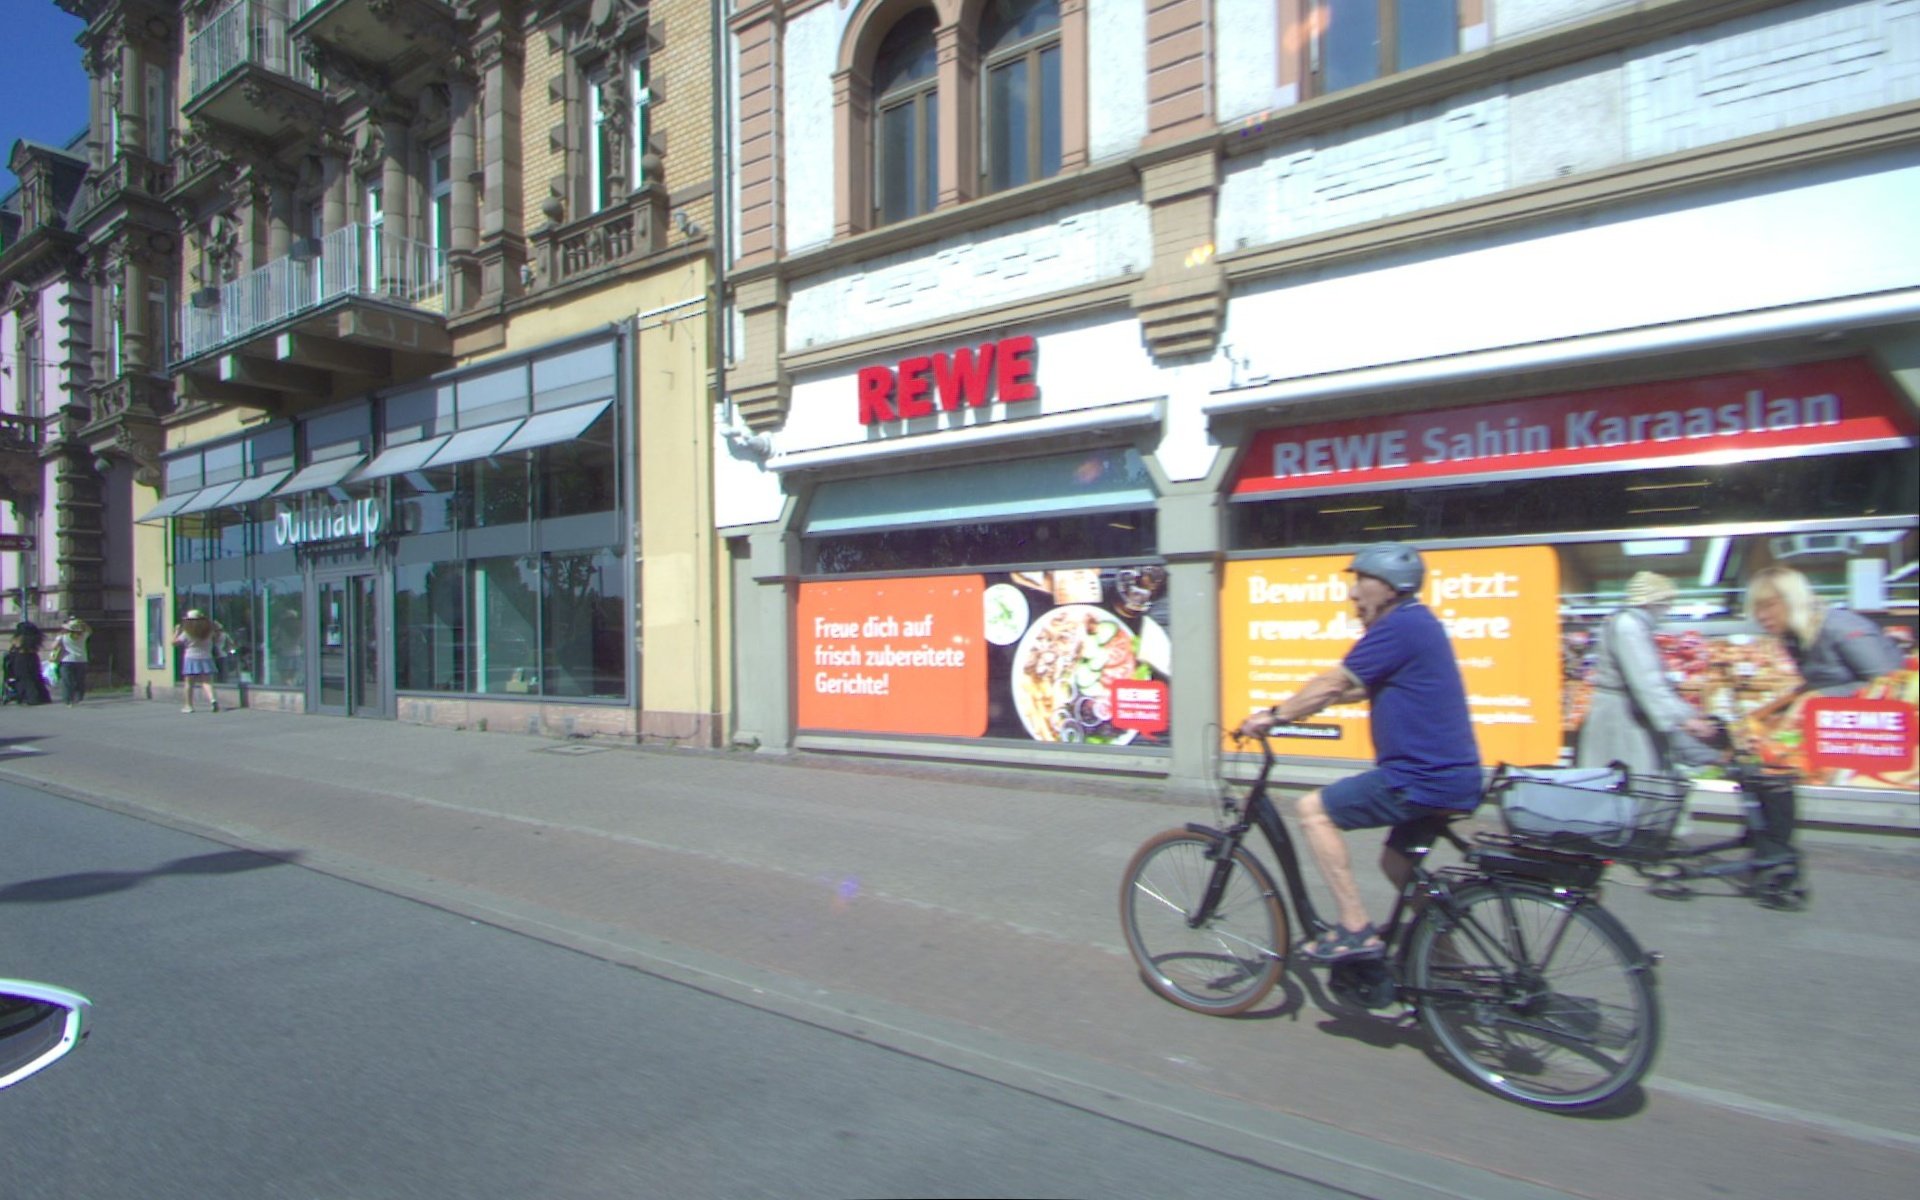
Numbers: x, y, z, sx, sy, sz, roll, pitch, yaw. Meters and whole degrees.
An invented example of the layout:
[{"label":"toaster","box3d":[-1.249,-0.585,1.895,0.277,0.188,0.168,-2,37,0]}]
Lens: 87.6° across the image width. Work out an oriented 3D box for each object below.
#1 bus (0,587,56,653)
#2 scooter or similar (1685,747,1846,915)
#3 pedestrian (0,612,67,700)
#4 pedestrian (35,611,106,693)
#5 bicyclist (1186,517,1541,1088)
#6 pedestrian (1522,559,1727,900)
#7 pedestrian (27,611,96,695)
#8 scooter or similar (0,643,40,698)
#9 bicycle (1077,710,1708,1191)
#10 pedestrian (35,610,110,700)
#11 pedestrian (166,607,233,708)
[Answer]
[{"label":"bus","box3d":[-42.865,0.735,41.543,2.921,2.810,8.650,0,-4,-1]},{"label":"scooter or similar","box3d":[4.104,1.152,5.146,0.558,0.659,0.689,-2,1,33]},{"label":"pedestrian","box3d":[-18.232,1.103,19.616,0.863,1.660,0.861,-2,-4,32]},{"label":"pedestrian","box3d":[-18.565,1.092,20.904,0.863,1.660,0.861,-2,-4,32]},{"label":"bicyclist","box3d":[1.364,0.614,3.467,0.682,1.636,0.912,3,-4,-38]},{"label":"pedestrian","box3d":[3.586,0.644,5.449,0.826,1.678,0.753,-2,1,33]},{"label":"pedestrian","box3d":[-18.493,1.070,20.615,0.863,1.661,0.861,0,0,32]},{"label":"scooter or similar","box3d":[-18.835,1.397,19.897,0.788,1.060,0.599,-2,-4,32]},{"label":"bicycle","box3d":[1.335,0.979,3.486,0.728,1.106,1.897,3,-4,-38]},{"label":"pedestrian","box3d":[-16.893,1.035,19.064,0.863,1.661,0.861,-1,-1,32]},{"label":"pedestrian","box3d":[-12.813,0.950,16.872,0.804,1.642,0.653,0,0,32]}]
